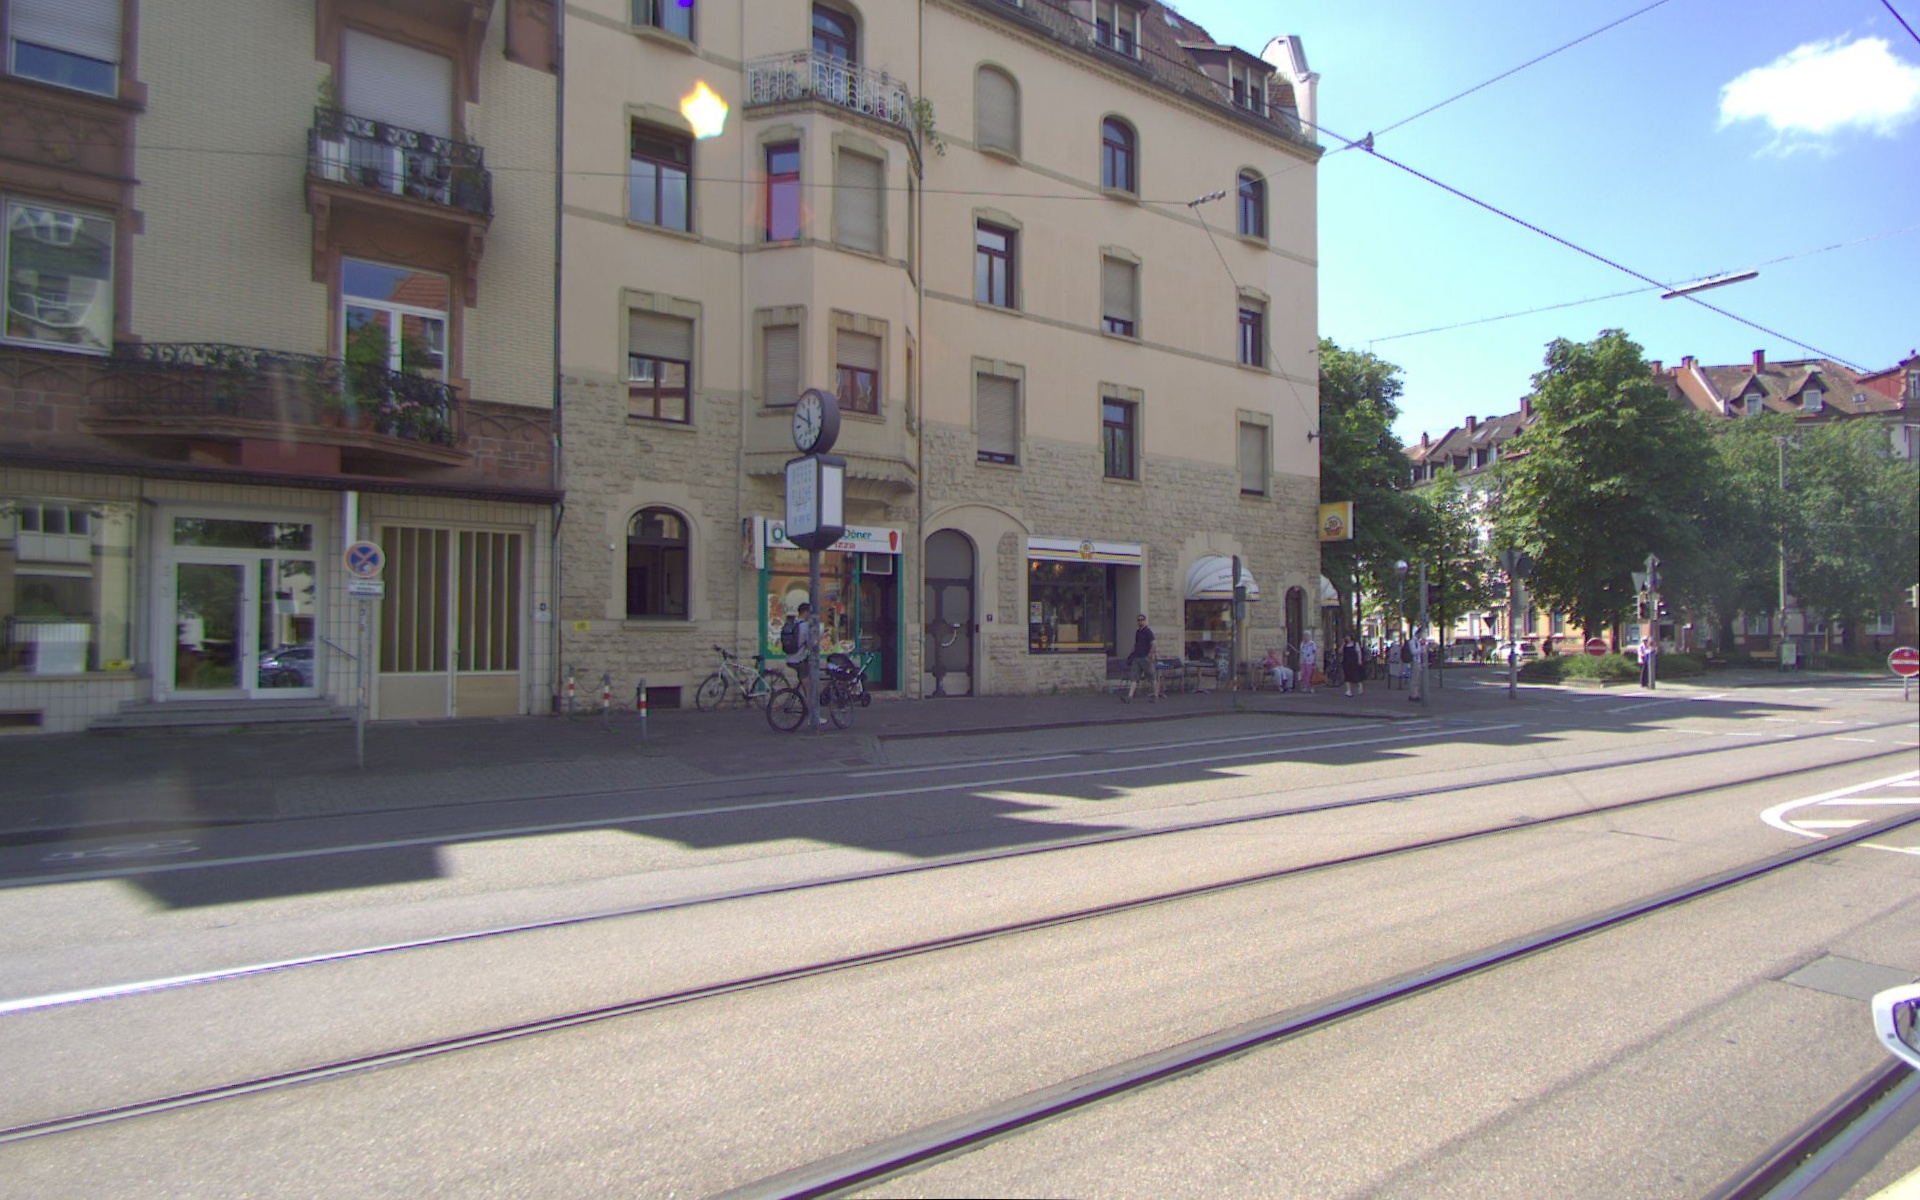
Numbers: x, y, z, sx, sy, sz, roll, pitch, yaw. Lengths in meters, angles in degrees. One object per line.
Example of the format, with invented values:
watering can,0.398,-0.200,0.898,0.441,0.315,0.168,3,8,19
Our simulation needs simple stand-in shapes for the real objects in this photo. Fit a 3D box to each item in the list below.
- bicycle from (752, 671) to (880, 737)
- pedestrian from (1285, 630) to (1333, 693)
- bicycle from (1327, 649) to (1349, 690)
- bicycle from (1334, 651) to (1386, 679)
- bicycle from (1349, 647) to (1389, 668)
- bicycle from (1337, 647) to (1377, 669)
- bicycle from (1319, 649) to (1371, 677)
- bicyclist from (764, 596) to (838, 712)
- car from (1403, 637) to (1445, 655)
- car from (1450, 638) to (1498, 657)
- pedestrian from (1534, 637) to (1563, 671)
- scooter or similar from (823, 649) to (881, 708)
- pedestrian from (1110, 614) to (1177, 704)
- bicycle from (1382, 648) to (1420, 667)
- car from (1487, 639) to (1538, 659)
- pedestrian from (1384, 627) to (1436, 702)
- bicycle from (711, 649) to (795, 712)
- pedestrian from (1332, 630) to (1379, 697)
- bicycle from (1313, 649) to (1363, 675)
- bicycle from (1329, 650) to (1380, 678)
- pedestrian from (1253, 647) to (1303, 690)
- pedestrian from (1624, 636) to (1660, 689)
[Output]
bicycle,-2.199,1.569,15.432,1.805,0.828,0.746,1,3,-39
pedestrian,9.185,1.612,26.446,0.910,1.615,0.801,1,-2,-35
bicycle,10.896,1.998,28.990,0.534,1.143,1.683,0,-4,19
bicycle,14.709,2.388,36.954,1.697,1.046,0.544,0,-2,0
bicycle,21.282,2.994,52.284,1.825,1.046,0.543,-2,-3,34
bicycle,20.166,2.938,51.032,1.825,1.046,0.543,-2,-3,34
bicycle,14.959,2.445,39.018,1.819,1.046,0.544,0,-2,0
bicyclist,-2.421,0.806,15.244,0.823,1.685,0.750,2,-1,-38
car,39.930,3.951,86.465,1.654,1.491,3.467,0,-2,-8
car,40.985,3.802,80.183,1.654,1.491,3.467,0,-2,-8
pedestrian,33.114,3.010,56.551,1.001,1.893,0.999,1,-2,-18
scooter or similar,-2.077,1.504,19.483,0.682,1.058,1.210,1,-1,16
pedestrian,4.003,1.266,21.926,1.153,1.916,0.895,1,-1,-34
bicycle,24.503,3.182,55.838,1.825,1.046,0.543,-2,-3,34
car,41.948,3.724,76.322,1.654,1.491,3.467,0,-2,-8
pedestrian,10.829,1.529,24.177,0.767,1.755,0.855,1,-1,-32
bicycle,-3.723,1.446,18.108,1.439,1.080,0.370,2,-1,-10
pedestrian,10.050,1.595,25.532,0.850,1.657,1.022,-1,-2,39
bicycle,15.189,2.484,40.383,1.819,1.046,0.544,-1,-2,17
bicycle,14.788,2.407,37.633,1.697,1.046,0.544,0,-2,0
pedestrian,8.399,1.802,26.566,0.873,1.091,0.911,1,-3,-32
pedestrian,22.509,2.051,33.178,0.825,1.745,0.918,-1,-2,26
